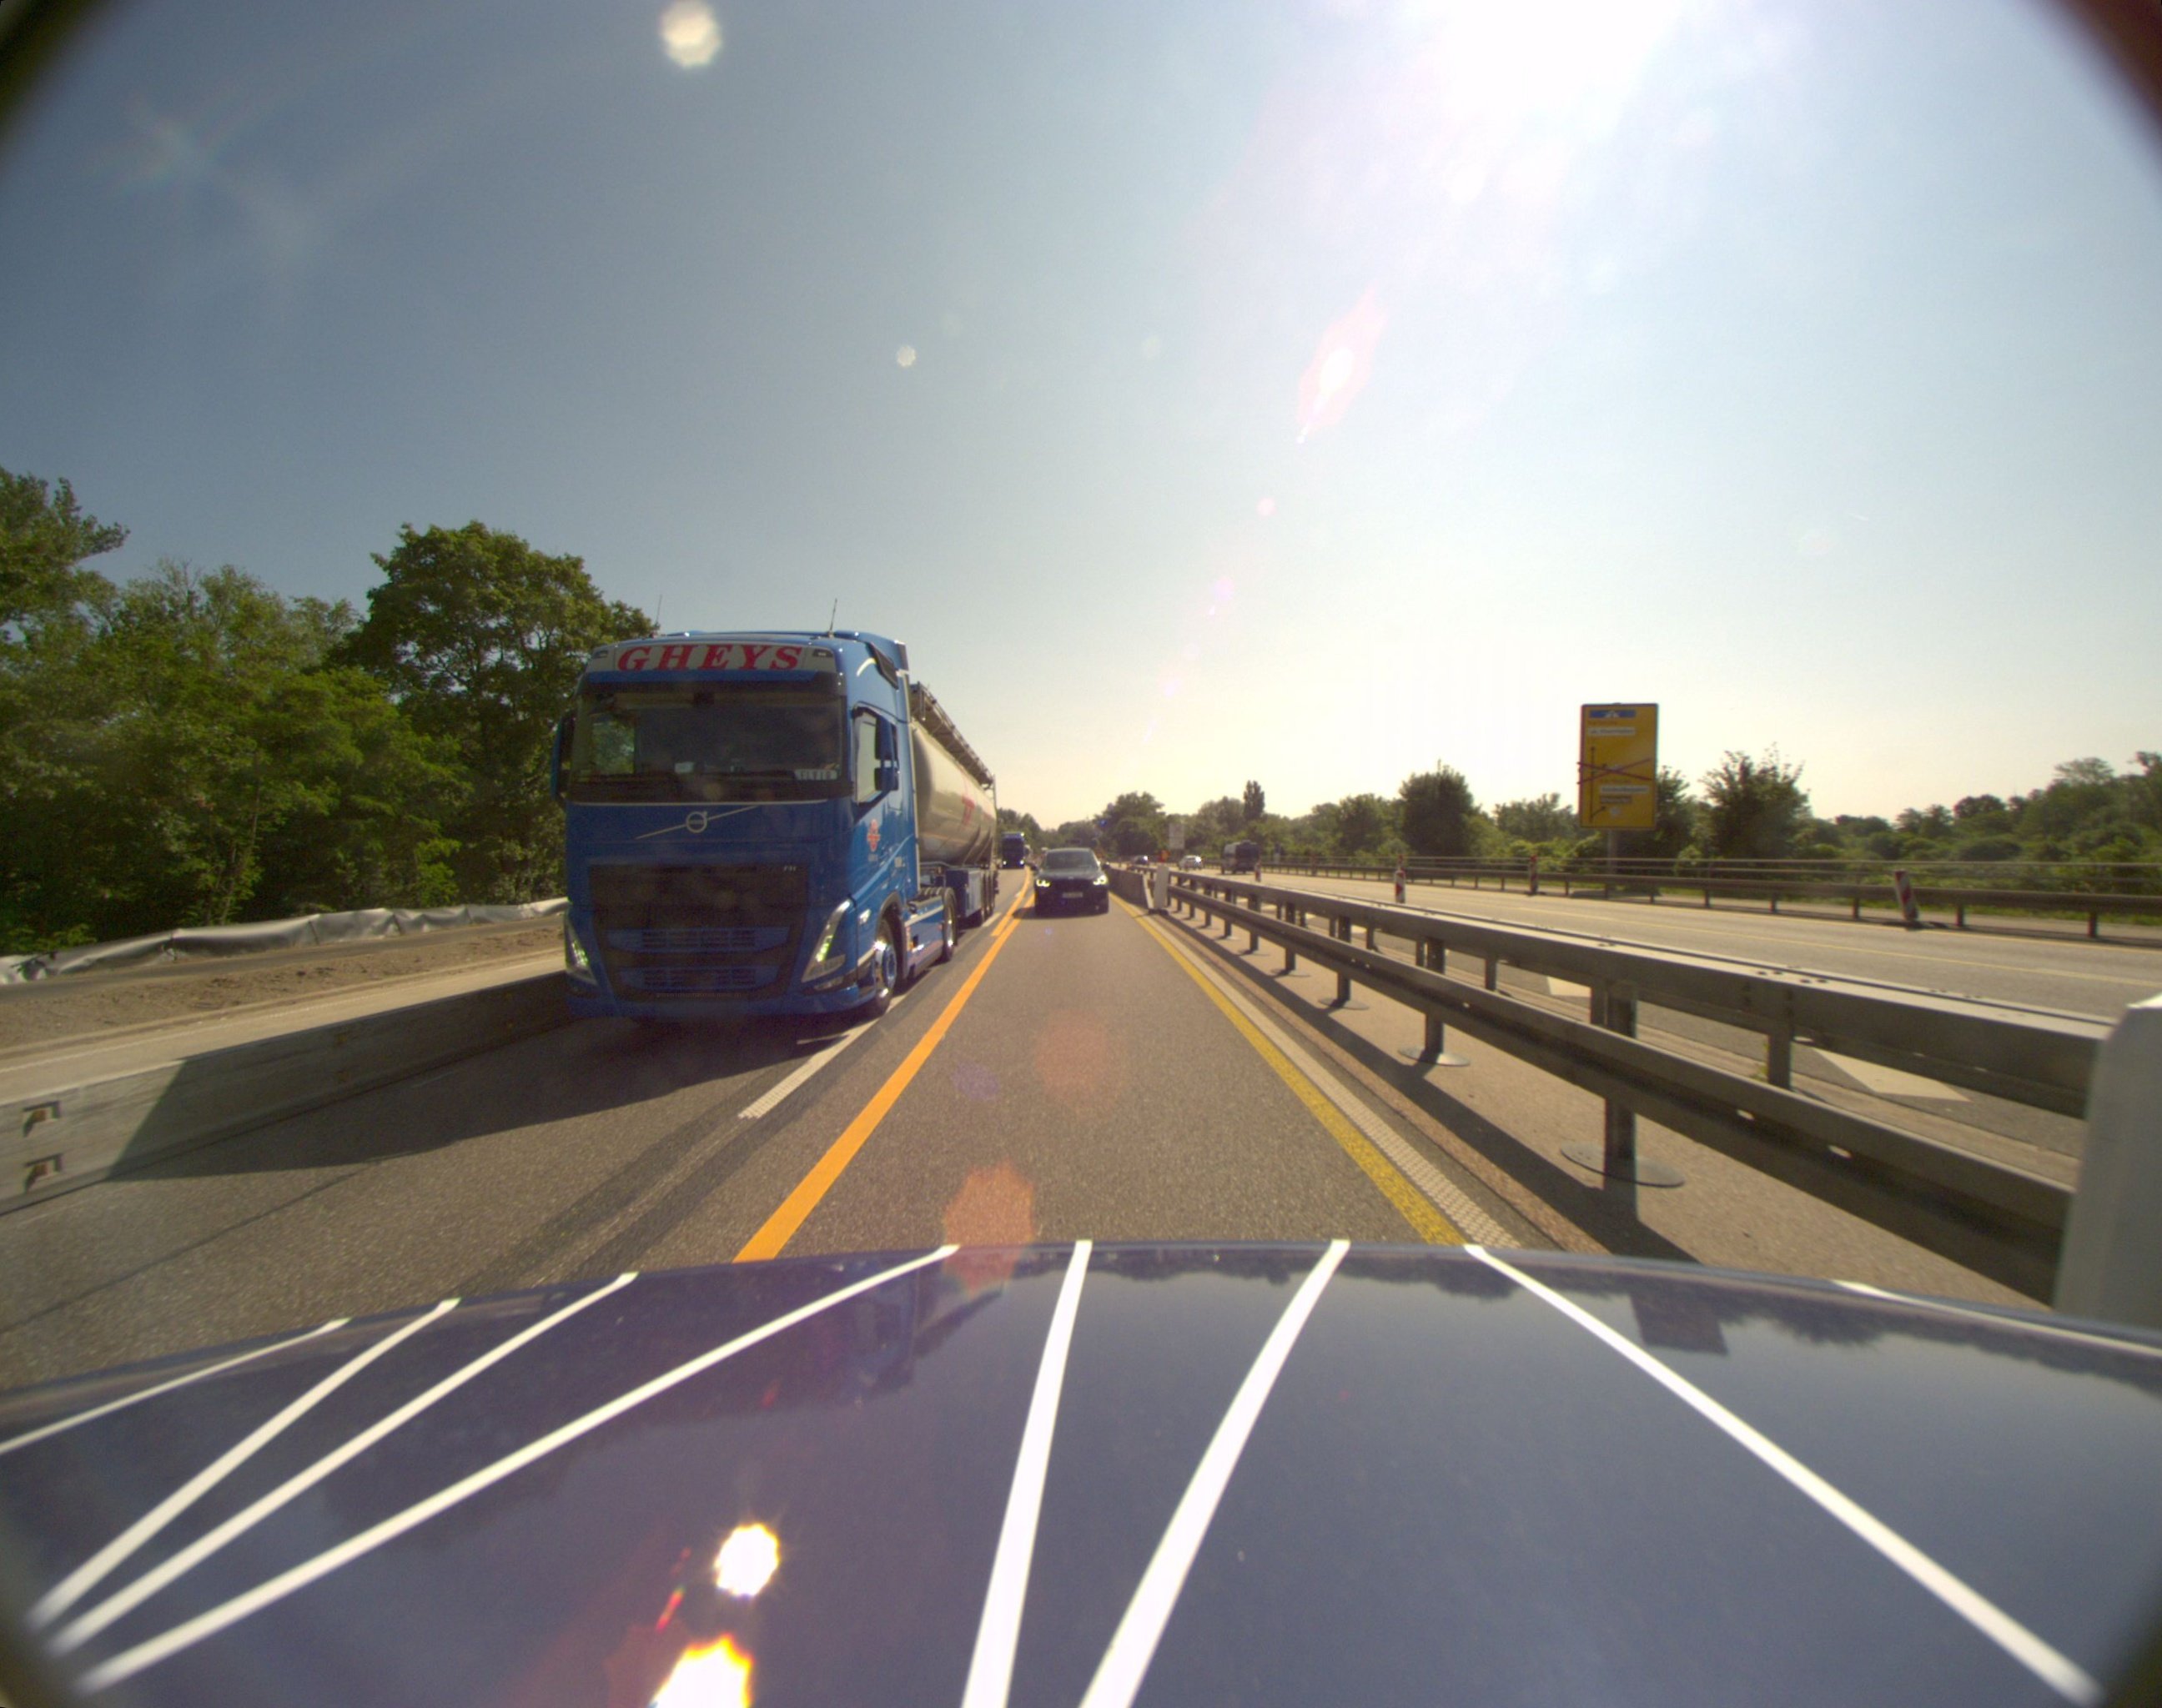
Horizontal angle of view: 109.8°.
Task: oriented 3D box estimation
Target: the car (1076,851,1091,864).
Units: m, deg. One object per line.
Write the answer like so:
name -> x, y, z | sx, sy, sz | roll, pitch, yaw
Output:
car -> 0.394, 0.515, 118.464 | 1.998, 2.002, 4.001 | 1, 0, 3

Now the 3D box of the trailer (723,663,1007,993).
trailer -> -3.331, -0.334, 15.880 | 2.701, 4.113, 12.611 | 1, 0, -2

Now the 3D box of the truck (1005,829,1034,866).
truck -> -7.056, -0.747, 86.343 | 2.862, 3.962, 8.659 | 1, 0, -7

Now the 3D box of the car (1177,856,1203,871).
car -> 11.365, 0.964, 79.383 | 1.724, 1.389, 4.517 | -1, 0, -4

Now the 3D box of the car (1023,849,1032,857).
car -> -12.203, -0.247, 173.852 | 1.747, 1.621, 4.091 | 1, 0, -2

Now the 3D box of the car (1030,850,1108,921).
car -> -0.212, 0.744, 20.621 | 1.789, 1.651, 4.487 | -2, 0, 3

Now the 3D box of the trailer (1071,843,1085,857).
trailer -> -0.887, -1.253, 226.330 | 2.769, 4.112, 14.523 | 1, 0, -5

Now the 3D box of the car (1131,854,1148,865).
car -> 8.491, 0.807, 110.685 | 1.742, 1.467, 4.644 | 0, 0, -3

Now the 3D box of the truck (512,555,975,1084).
truck -> -3.141, -0.259, 9.575 | 2.701, 4.078, 7.298 | 1, 0, -2

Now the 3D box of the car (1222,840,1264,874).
car -> 13.124, 0.248, 61.997 | 2.152, 2.645, 5.544 | 0, 0, -2
